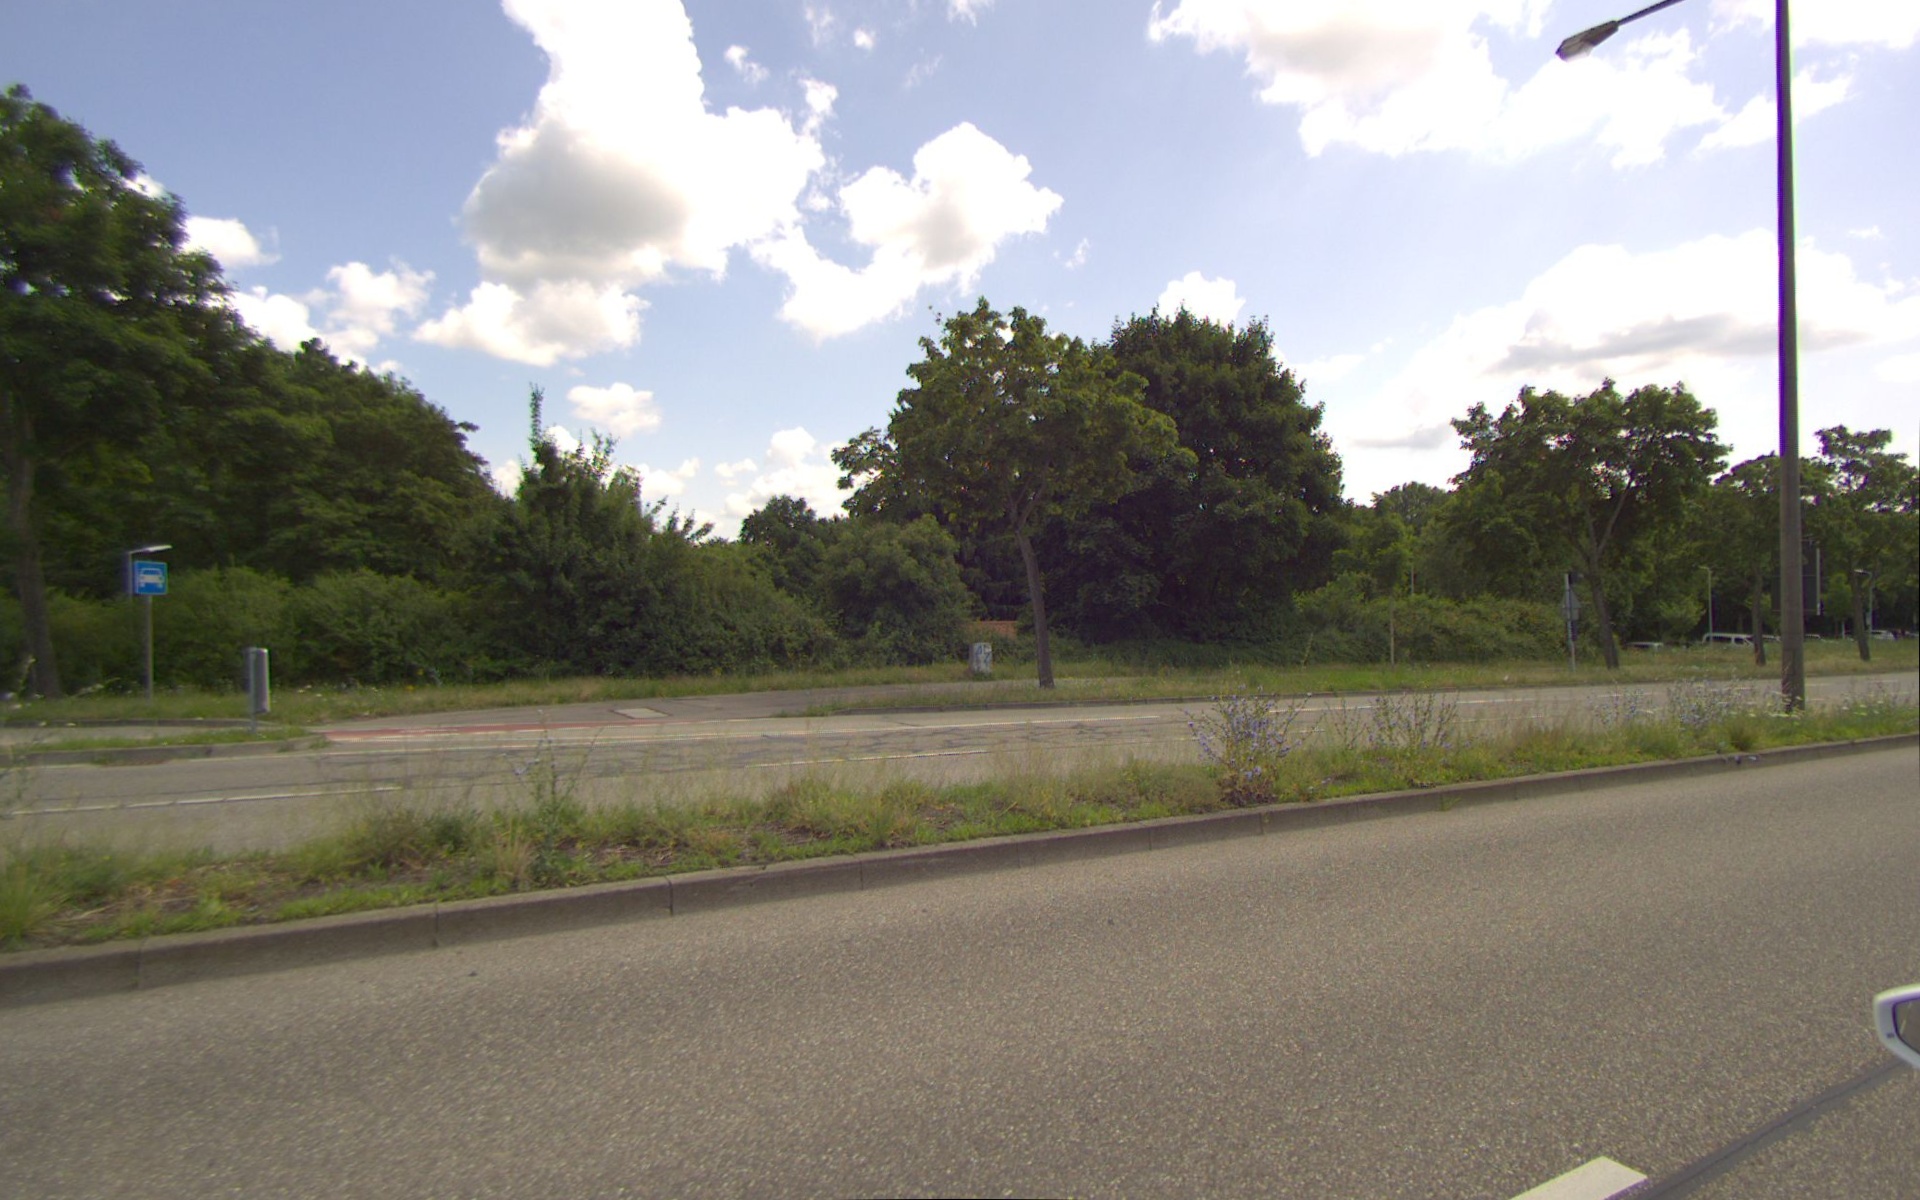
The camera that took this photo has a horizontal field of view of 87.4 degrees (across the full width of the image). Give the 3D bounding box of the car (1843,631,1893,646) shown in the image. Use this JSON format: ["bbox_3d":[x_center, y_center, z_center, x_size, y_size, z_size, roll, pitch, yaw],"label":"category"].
[{"bbox_3d":[99.379,4.176,109.965,1.767,1.447,3.762,0,0,-33],"label":"car"}]

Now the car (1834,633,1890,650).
[{"bbox_3d":[88.847,4.064,99.012,1.765,1.528,3.764,0,0,-32],"label":"car"}]

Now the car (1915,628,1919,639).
[{"bbox_3d":[121.894,4.240,125.219,1.764,1.406,3.768,0,0,-29],"label":"car"}]

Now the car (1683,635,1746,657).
[{"bbox_3d":[64.597,3.924,86.053,1.980,1.647,3.960,0,0,-35],"label":"car"}]
